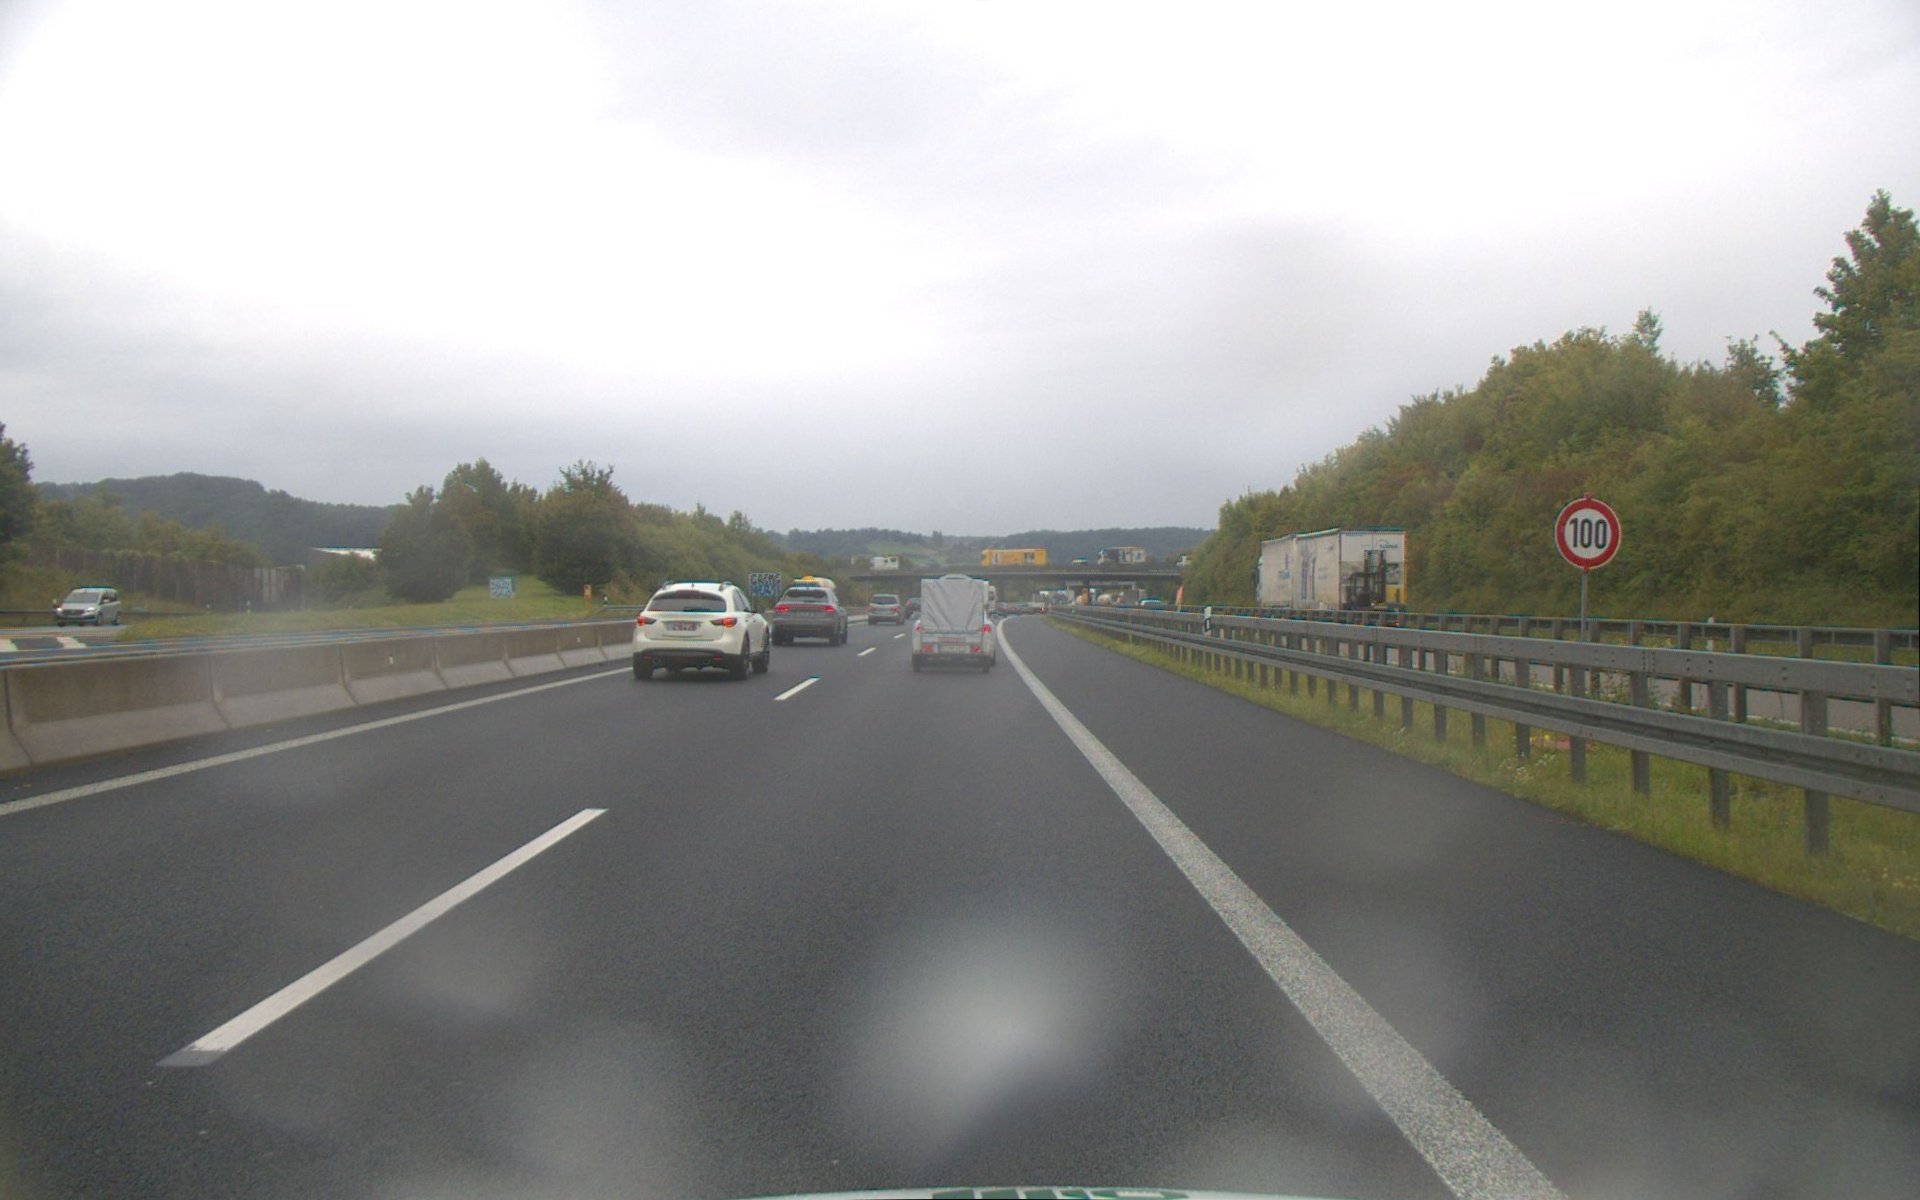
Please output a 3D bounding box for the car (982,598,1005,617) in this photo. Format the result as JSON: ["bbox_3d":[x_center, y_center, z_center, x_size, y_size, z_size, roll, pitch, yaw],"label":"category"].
[{"bbox_3d":[3.170,0.721,157.139,1.953,1.780,3.998,1,0,-2],"label":"car"}]

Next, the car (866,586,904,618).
[{"bbox_3d":[-3.989,0.087,88.542,1.862,1.641,4.016,0,0,-1],"label":"car"}]

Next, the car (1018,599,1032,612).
[{"bbox_3d":[9.398,0.789,238.898,1.952,1.780,4.001,1,0,3],"label":"car"}]

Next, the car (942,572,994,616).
[{"bbox_3d":[0.545,-0.382,102.023,2.954,2.662,6.076,0,0,2],"label":"car"}]

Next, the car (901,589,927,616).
[{"bbox_3d":[-3.276,0.159,118.544,1.804,1.851,3.999,0,0,-1],"label":"car"}]

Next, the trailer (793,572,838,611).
[{"bbox_3d":[-13.533,-0.785,155.806,2.704,3.458,11.450,1,0,2],"label":"trailer"}]

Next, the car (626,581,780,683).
[{"bbox_3d":[-4.488,0.528,29.550,1.935,1.668,4.501,0,0,1],"label":"car"}]

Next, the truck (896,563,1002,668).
[{"bbox_3d":[-0.131,0.274,35.401,1.977,2.020,7.214,0,0,2],"label":"truck"}]

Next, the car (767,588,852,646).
[{"bbox_3d":[-4.479,0.490,49.785,2.130,1.660,4.500,0,0,0],"label":"car"}]

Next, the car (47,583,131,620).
[{"bbox_3d":[-41.766,0.066,79.446,2.139,1.725,4.560,0,0,-8],"label":"car"}]

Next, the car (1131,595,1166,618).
[{"bbox_3d":[12.539,0.440,110.273,1.822,1.472,4.157,0,0,0],"label":"car"}]

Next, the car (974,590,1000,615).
[{"bbox_3d":[2.231,0.194,138.295,1.953,2.071,4.150,1,0,-2],"label":"car"}]

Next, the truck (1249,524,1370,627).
[{"bbox_3d":[15.679,-1.066,75.086,3.366,4.364,10.419,0,0,1],"label":"truck"}]

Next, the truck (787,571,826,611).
[{"bbox_3d":[-13.793,-0.799,149.040,2.704,3.458,5.847,1,0,2],"label":"truck"}]

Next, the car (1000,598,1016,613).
[{"bbox_3d":[6.155,0.722,210.920,1.952,1.780,4.001,1,0,2],"label":"car"}]

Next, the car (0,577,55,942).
[{"bbox_3d":[-4.942,0.660,4.861,1.861,1.523,4.851,0,0,0],"label":"car"}]

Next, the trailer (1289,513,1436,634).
[{"bbox_3d":[15.506,-0.987,64.625,3.366,4.364,10.455,0,0,1],"label":"trailer"}]
